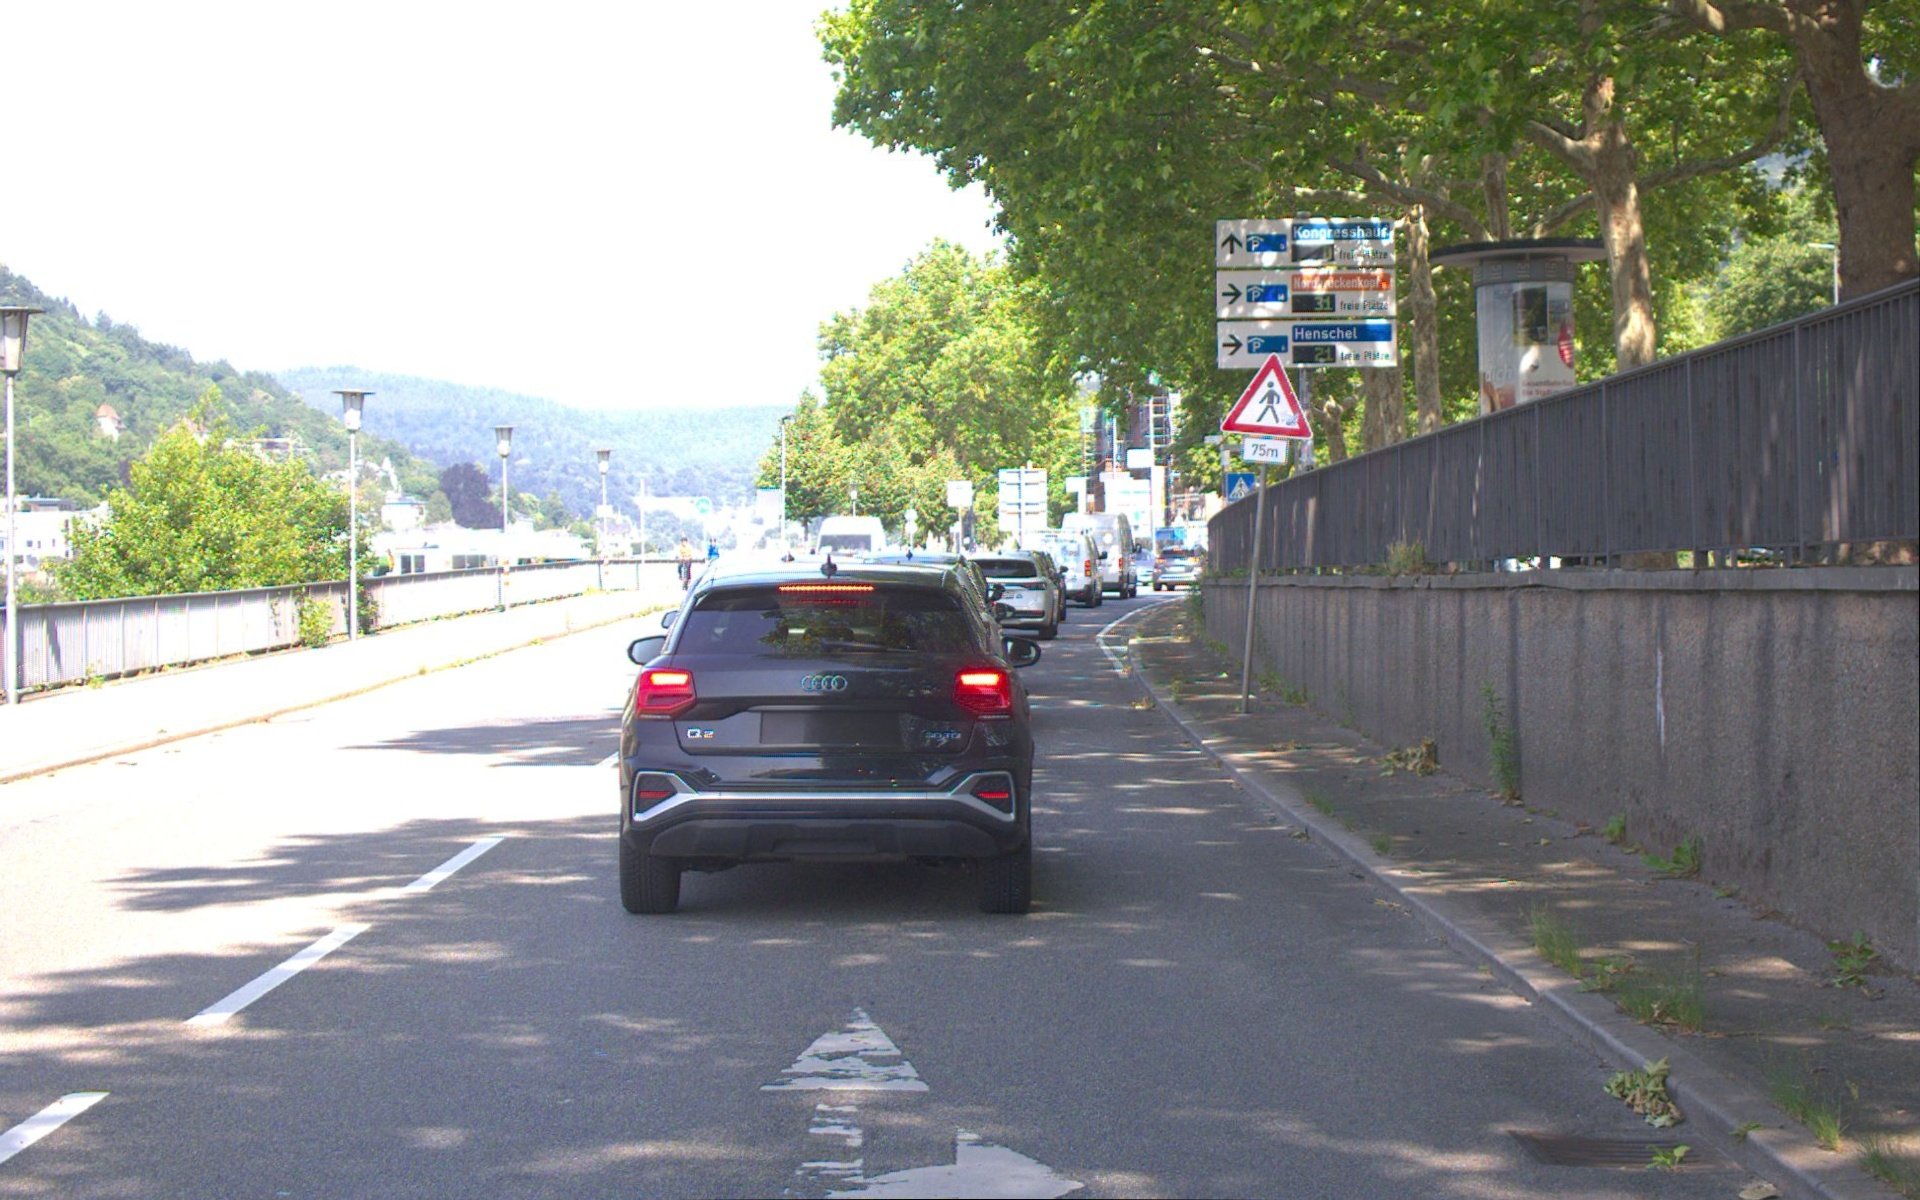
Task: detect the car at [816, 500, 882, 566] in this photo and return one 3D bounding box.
[{"bbox_3d":[-3.581,-2.155,111.487,1.993,2.007,4.000,-3,1,-1],"label":"car"}]

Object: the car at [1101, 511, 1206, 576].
[{"bbox_3d":[6.625,-1.944,118.428,3.098,2.007,5.825,-3,1,-1],"label":"car"}]

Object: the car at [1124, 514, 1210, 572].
[{"bbox_3d":[7.805,-2.152,130.140,2.661,2.007,5.825,-3,1,-1],"label":"car"}]

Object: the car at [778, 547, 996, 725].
[{"bbox_3d":[-0.654,0.273,30.890,1.828,1.481,4.000,0,1,-1],"label":"car"}]

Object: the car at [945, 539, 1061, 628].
[{"bbox_3d":[0.702,-0.302,58.329,1.828,1.439,4.000,0,1,-1],"label":"car"}]

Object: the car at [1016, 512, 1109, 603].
[{"bbox_3d":[2.649,-1.090,87.665,1.994,2.162,3.999,-3,1,6],"label":"car"}]

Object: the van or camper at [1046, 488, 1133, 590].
[{"bbox_3d":[3.789,-1.787,101.153,2.310,2.837,4.246,-3,1,1],"label":"van or camper"}]

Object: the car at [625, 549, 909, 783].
[{"bbox_3d":[-1.287,0.400,24.248,1.828,1.506,4.000,0,1,-1],"label":"car"}]

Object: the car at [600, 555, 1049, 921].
[{"bbox_3d":[-0.594,0.541,16.078,1.828,1.481,4.000,0,1,-1],"label":"car"}]
